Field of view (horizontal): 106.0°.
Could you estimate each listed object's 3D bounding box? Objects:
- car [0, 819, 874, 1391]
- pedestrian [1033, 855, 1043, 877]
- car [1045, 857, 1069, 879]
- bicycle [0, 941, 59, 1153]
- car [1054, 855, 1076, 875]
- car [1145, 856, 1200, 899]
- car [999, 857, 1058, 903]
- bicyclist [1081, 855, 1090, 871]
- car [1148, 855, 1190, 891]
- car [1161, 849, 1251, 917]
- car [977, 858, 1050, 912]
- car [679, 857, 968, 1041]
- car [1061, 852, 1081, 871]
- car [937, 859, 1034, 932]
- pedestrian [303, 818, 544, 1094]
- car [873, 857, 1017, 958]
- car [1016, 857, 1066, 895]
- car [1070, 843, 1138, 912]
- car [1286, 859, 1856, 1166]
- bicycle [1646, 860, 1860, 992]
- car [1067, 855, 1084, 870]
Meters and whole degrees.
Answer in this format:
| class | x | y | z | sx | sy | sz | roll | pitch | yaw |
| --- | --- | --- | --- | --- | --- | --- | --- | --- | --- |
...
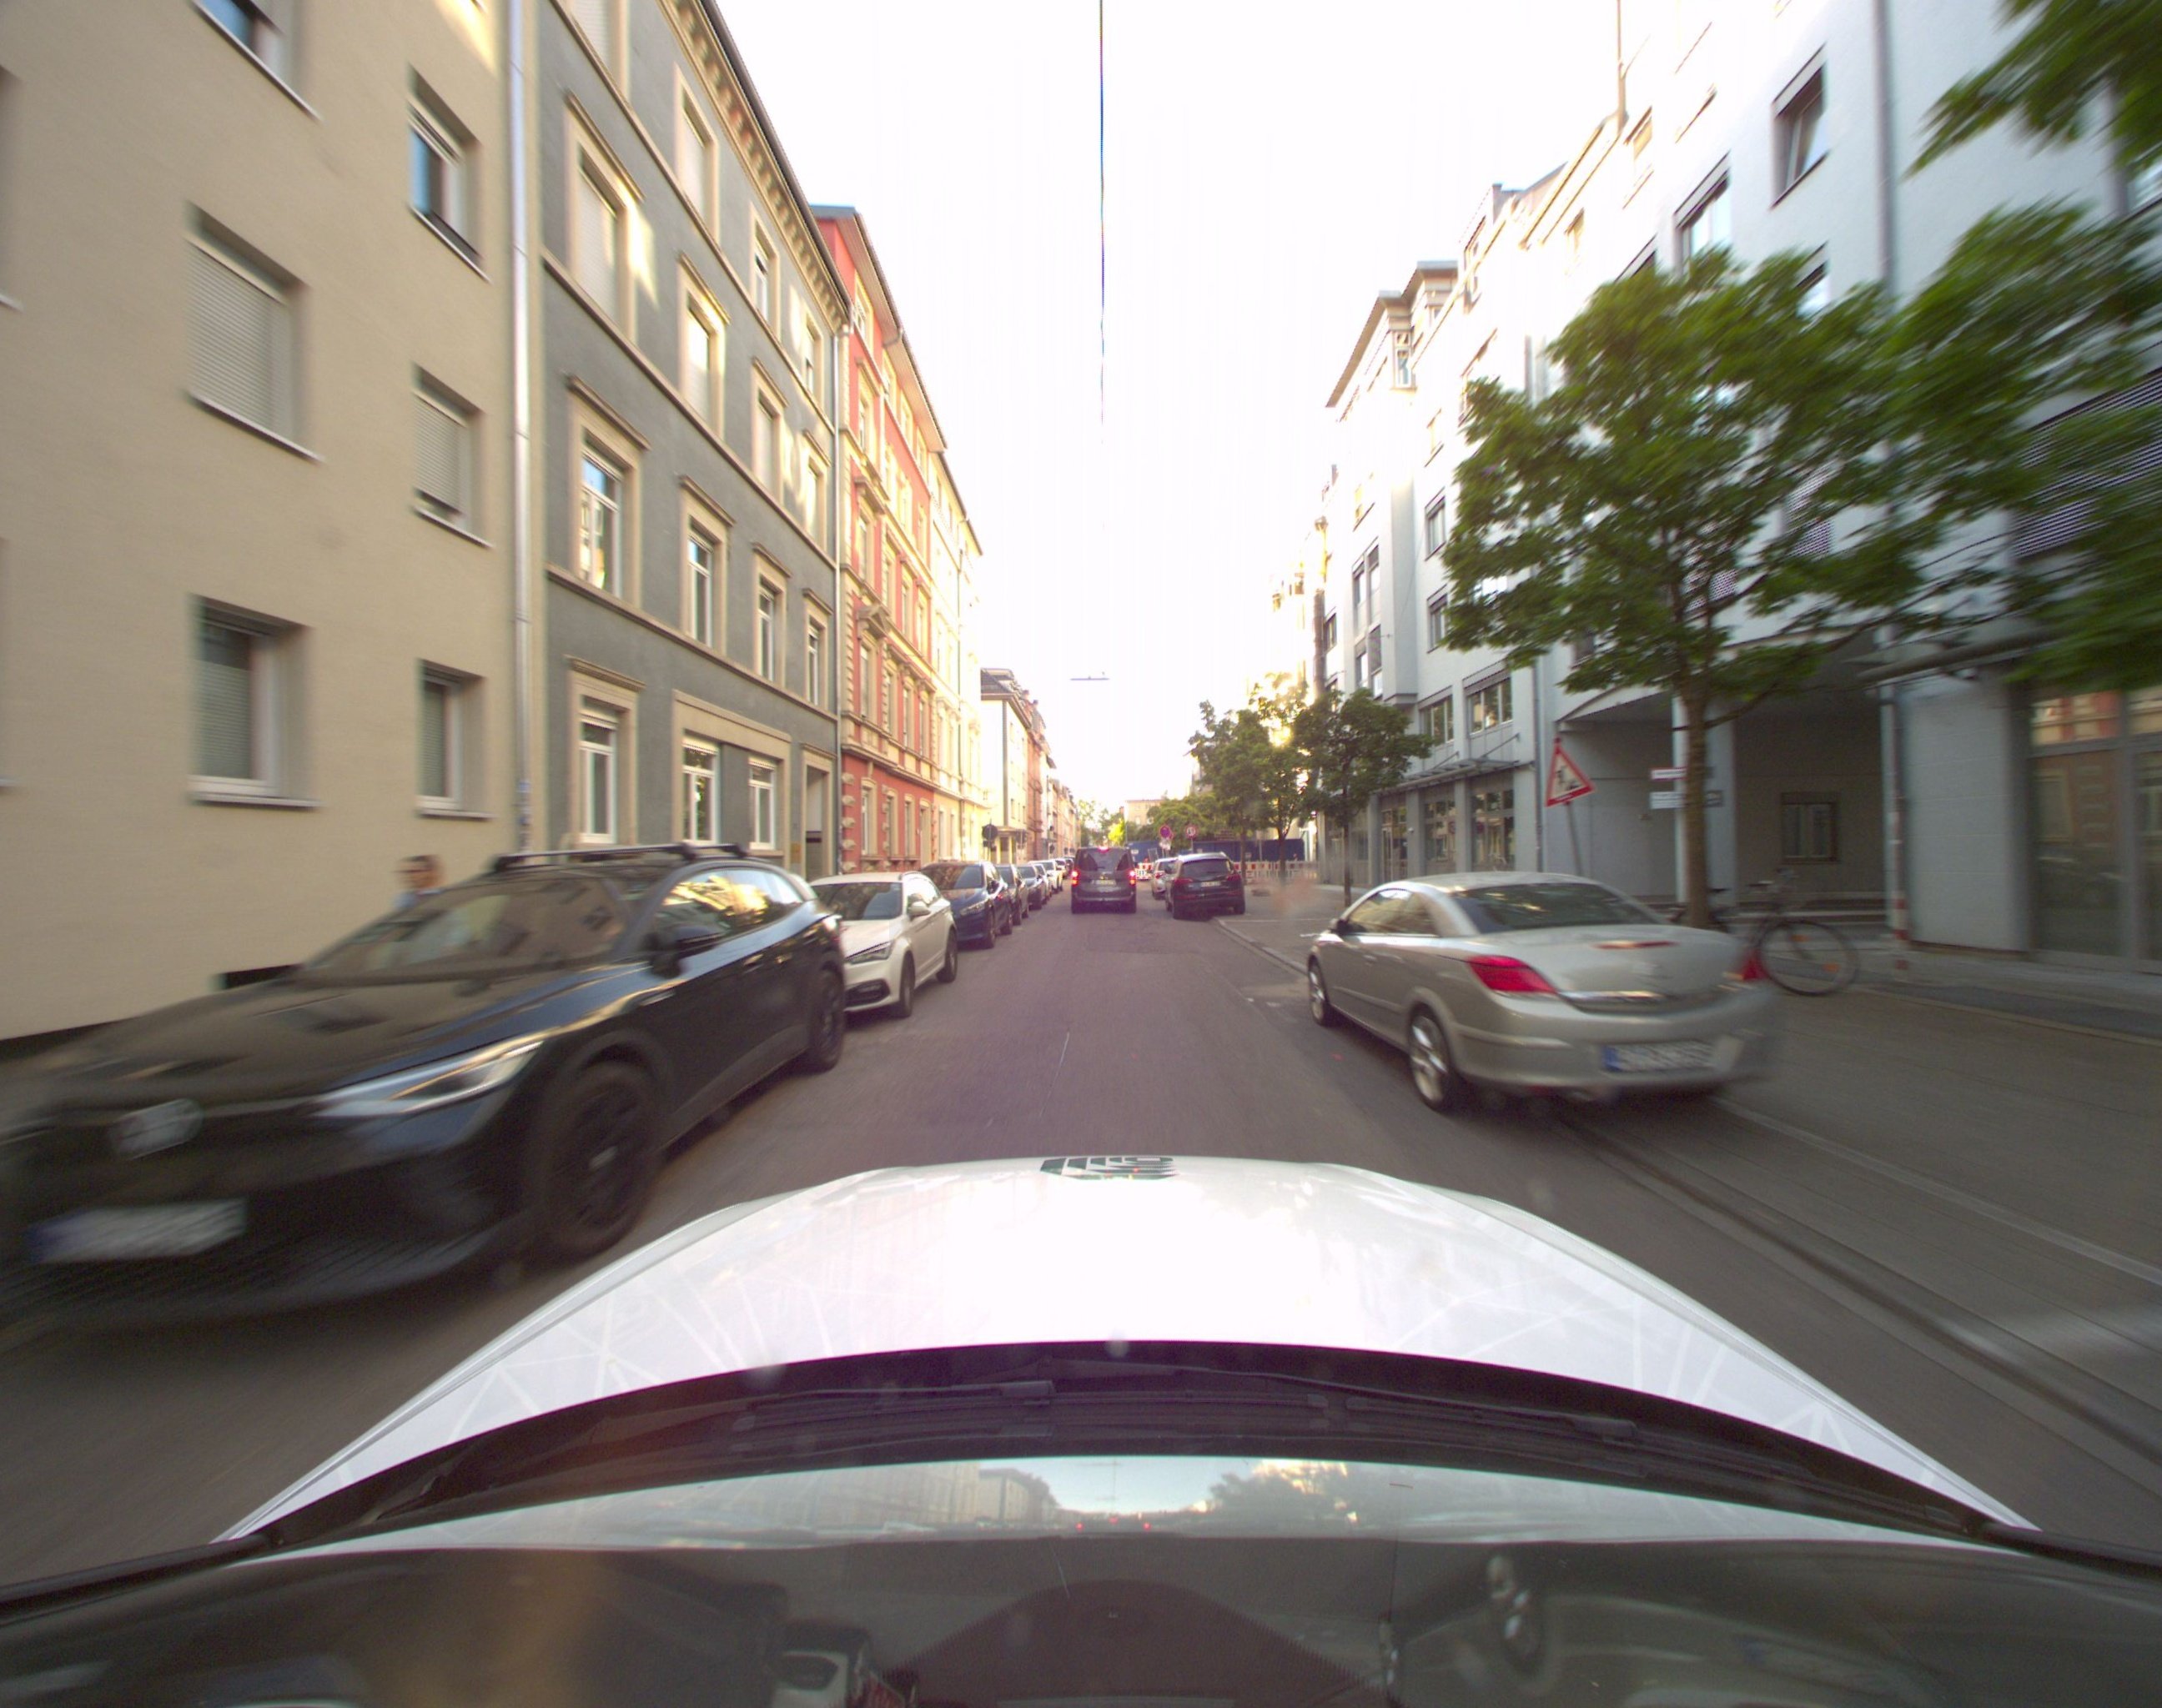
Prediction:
| class | x | y | z | sx | sy | sz | roll | pitch | yaw |
| --- | --- | --- | --- | --- | --- | --- | --- | --- | --- |
| car | -2.796 | 0.771 | 4.720 | 1.914 | 1.663 | 4.469 | -3 | 0 | 1 |
| pedestrian | -3.384 | 0.918 | 63.673 | 0.738 | 1.664 | 0.703 | -1 | 0 | -3 |
| car | -1.762 | 1.044 | 60.438 | 1.652 | 1.460 | 3.415 | 4 | -1 | -2 |
| bicycle | -5.822 | 1.004 | 3.557 | 0.449 | 1.074 | 1.752 | 0 | 0 | 2 |
| car | -1.520 | 1.030 | 76.510 | 1.887 | 1.719 | 3.751 | 4 | -1 | -2 |
| car | 3.494 | 0.869 | 31.818 | 1.671 | 1.525 | 3.970 | -3 | 0 | 0 |
| car | -1.993 | 0.959 | 31.934 | 1.914 | 1.560 | 4.267 | -3 | 0 | 1 |
| bicyclist | 0.382 | 0.762 | 70.567 | 0.729 | 1.412 | 0.941 | 1 | -1 | 4 |
| car | 3.904 | 0.823 | 36.542 | 1.669 | 1.476 | 3.734 | -3 | 0 | 4 |
| car | 3.353 | 0.750 | 22.670 | 1.878 | 1.622 | 4.436 | -3 | 0 | 2 |
| car | -2.101 | 0.949 | 26.511 | 1.914 | 1.484 | 4.267 | -3 | 0 | 1 |
| car | -2.653 | 0.875 | 9.591 | 1.914 | 1.560 | 4.267 | -3 | 0 | 1 |
| car | -1.092 | 0.842 | 85.880 | 1.887 | 1.847 | 4.345 | 4 | -1 | -2 |
| car | -2.340 | 0.980 | 21.040 | 1.894 | 1.560 | 4.241 | -3 | 0 | 1 |
| pedestrian | -4.706 | 0.674 | 5.927 | 0.786 | 1.790 | 1.092 | -3 | -1 | 1 |
| car | -2.430 | 0.902 | 15.694 | 1.914 | 1.560 | 4.267 | -3 | 0 | 1 |
| car | -1.768 | 0.979 | 37.335 | 1.914 | 1.507 | 4.268 | -3 | 0 | 1 |
| car | 0.674 | 0.685 | 24.495 | 1.858 | 1.886 | 4.235 | 0 | -1 | 1 |
| car | 2.947 | 0.790 | 6.175 | 1.757 | 1.429 | 4.346 | -3 | 0 | 2 |
| bicycle | 6.724 | 0.665 | 8.277 | 0.520 | 1.168 | 1.735 | -2 | -1 | -9 |
| car | -0.736 | 1.137 | 106.062 | 1.887 | 1.847 | 4.345 | 4 | -1 | -2 |
